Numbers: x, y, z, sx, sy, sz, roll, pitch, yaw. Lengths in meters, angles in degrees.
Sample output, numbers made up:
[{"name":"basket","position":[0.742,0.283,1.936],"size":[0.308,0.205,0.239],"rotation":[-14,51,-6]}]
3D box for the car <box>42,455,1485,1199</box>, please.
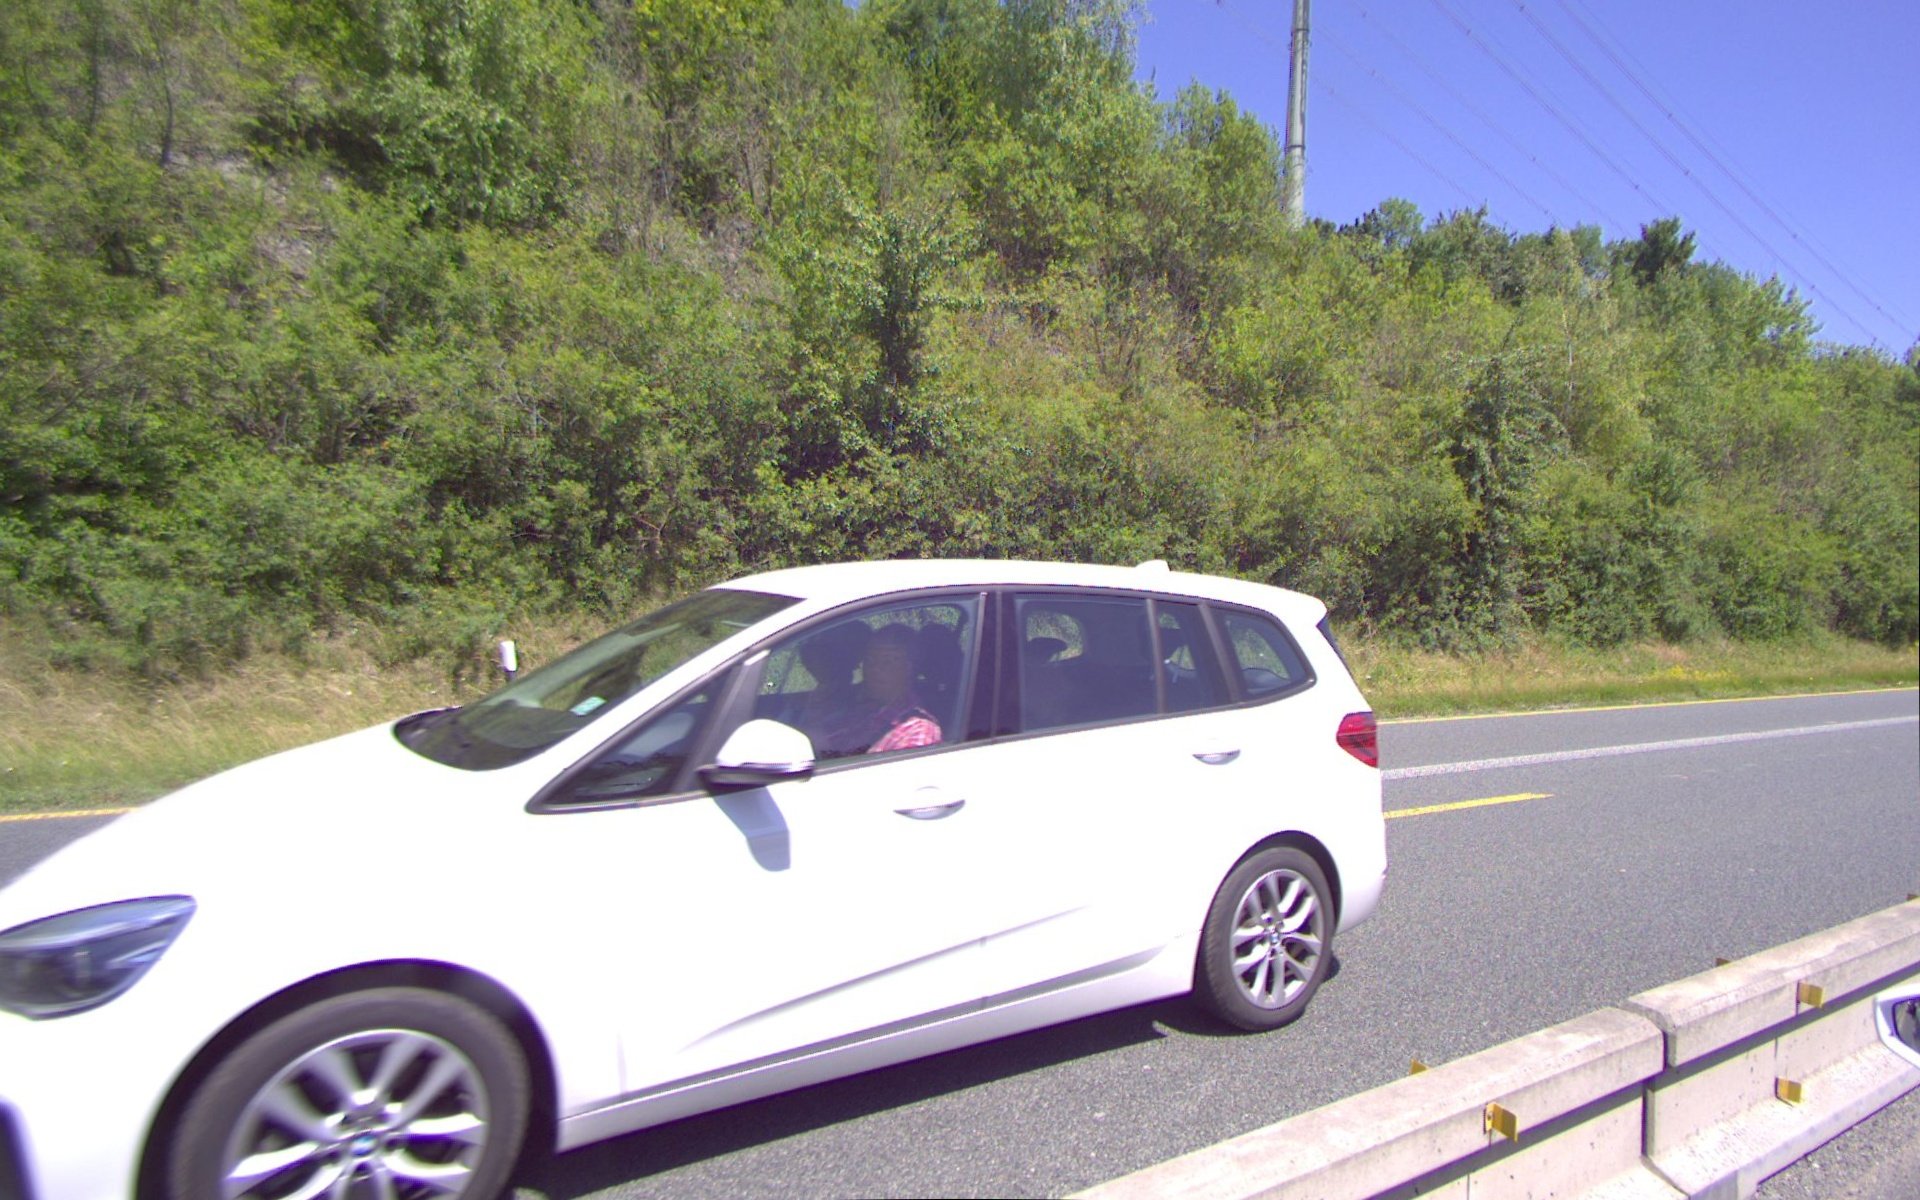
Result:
[{"name":"car","position":[-0.212,0.615,3.605],"size":[4.248,1.654,1.753],"rotation":[2,0,-31]}]
